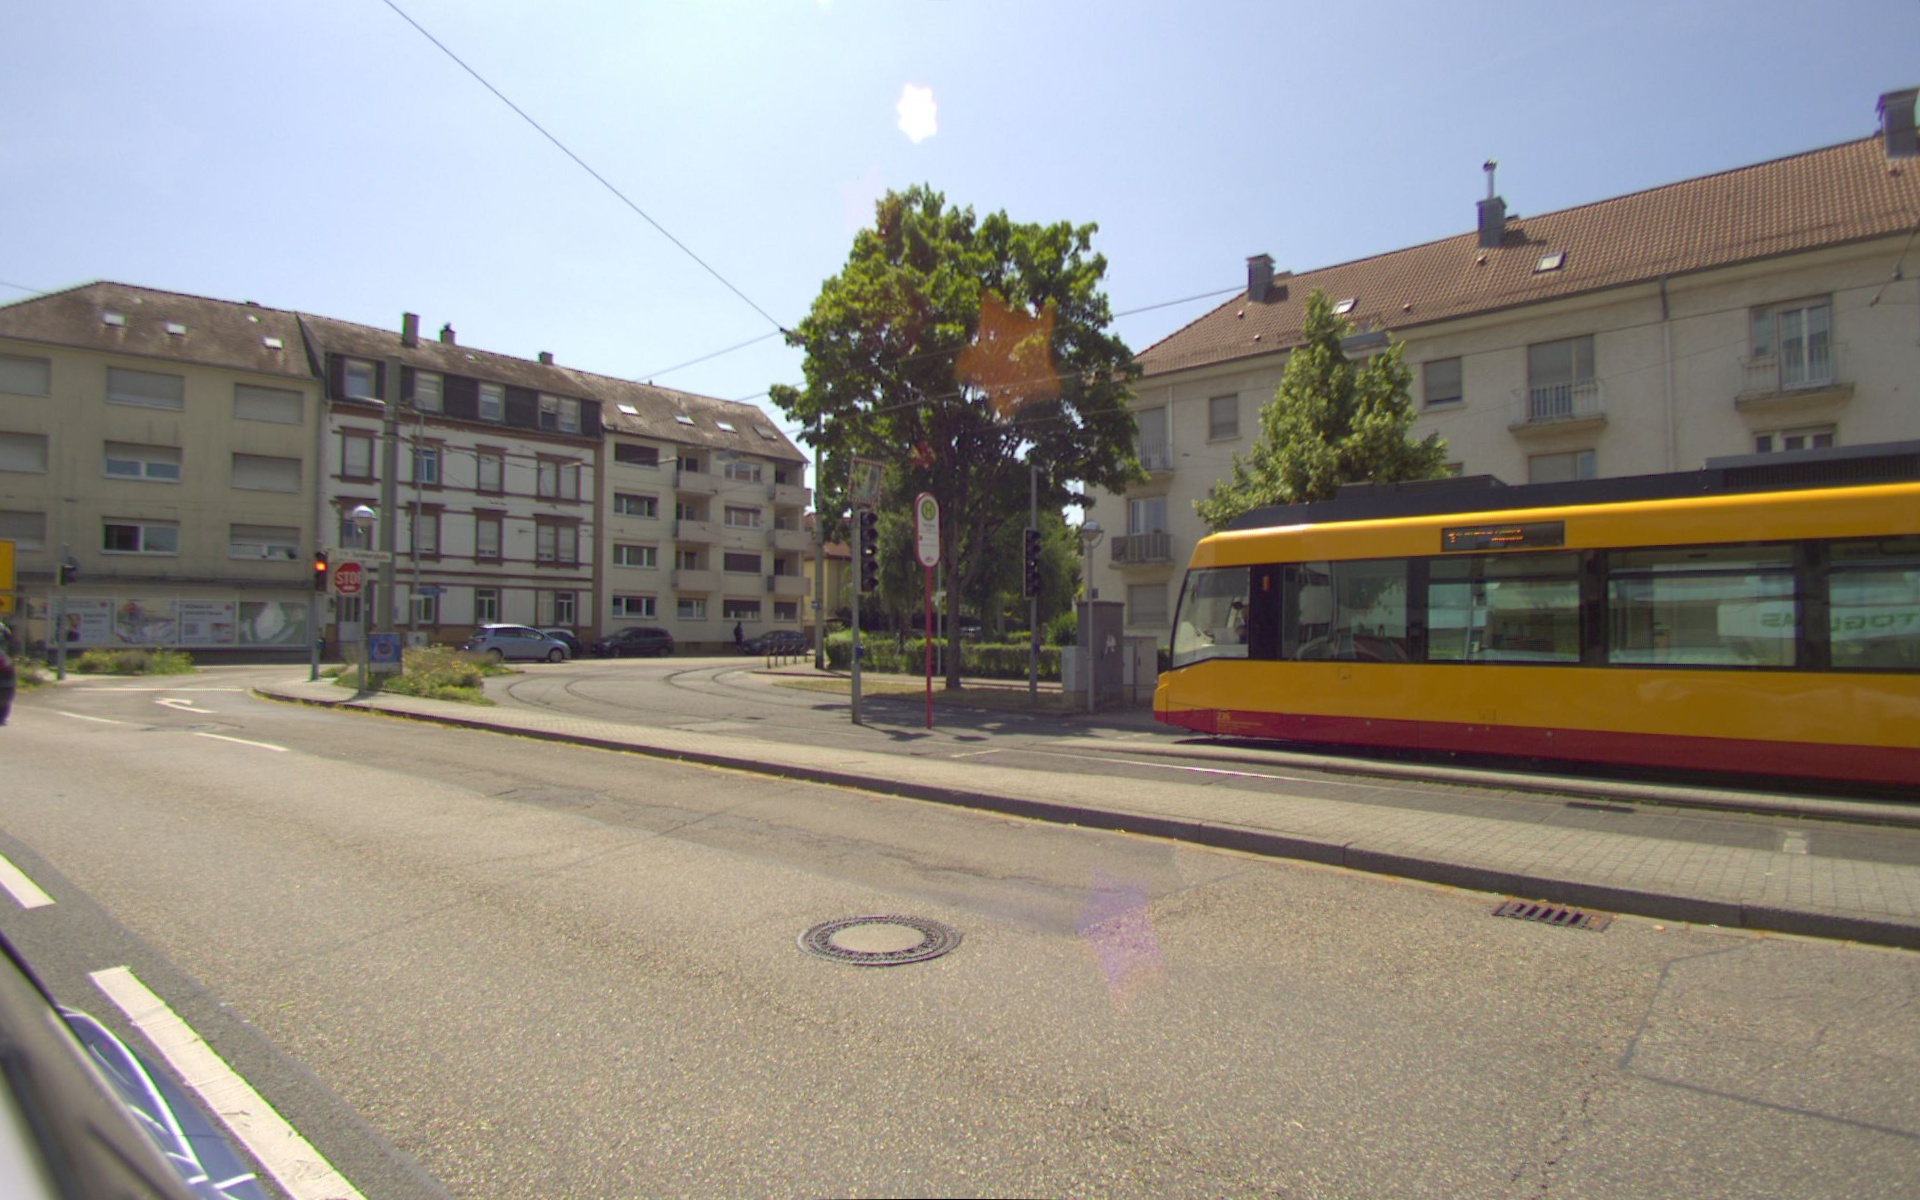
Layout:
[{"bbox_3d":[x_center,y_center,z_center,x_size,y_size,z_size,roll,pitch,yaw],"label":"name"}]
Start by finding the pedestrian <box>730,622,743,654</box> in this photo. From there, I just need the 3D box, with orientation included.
[{"bbox_3d":[-13.053,2.219,59.119,0.428,1.871,0.549,-1,0,43],"label":"pedestrian"}]

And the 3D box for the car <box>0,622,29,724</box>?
[{"bbox_3d":[-16.460,1.070,15.542,4.793,1.502,1.823,0,-2,30],"label":"car"}]

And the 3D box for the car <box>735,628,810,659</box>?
[{"bbox_3d":[-10.843,2.501,58.607,1.815,1.597,4.012,0,0,43],"label":"car"}]

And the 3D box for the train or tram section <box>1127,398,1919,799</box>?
[{"bbox_3d":[8.108,0.020,11.099,12.705,3.522,2.933,-2,-1,41],"label":"train or tram section"}]

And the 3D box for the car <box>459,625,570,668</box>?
[{"bbox_3d":[-18.768,1.915,42.693,3.938,1.630,1.762,0,0,-41],"label":"car"}]

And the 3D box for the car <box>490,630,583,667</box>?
[{"bbox_3d":[-20.474,2.307,49.013,2.000,1.597,3.705,0,0,43],"label":"car"}]

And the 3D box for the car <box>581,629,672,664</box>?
[{"bbox_3d":[-17.144,2.351,52.170,2.000,1.597,4.012,0,0,43],"label":"car"}]
